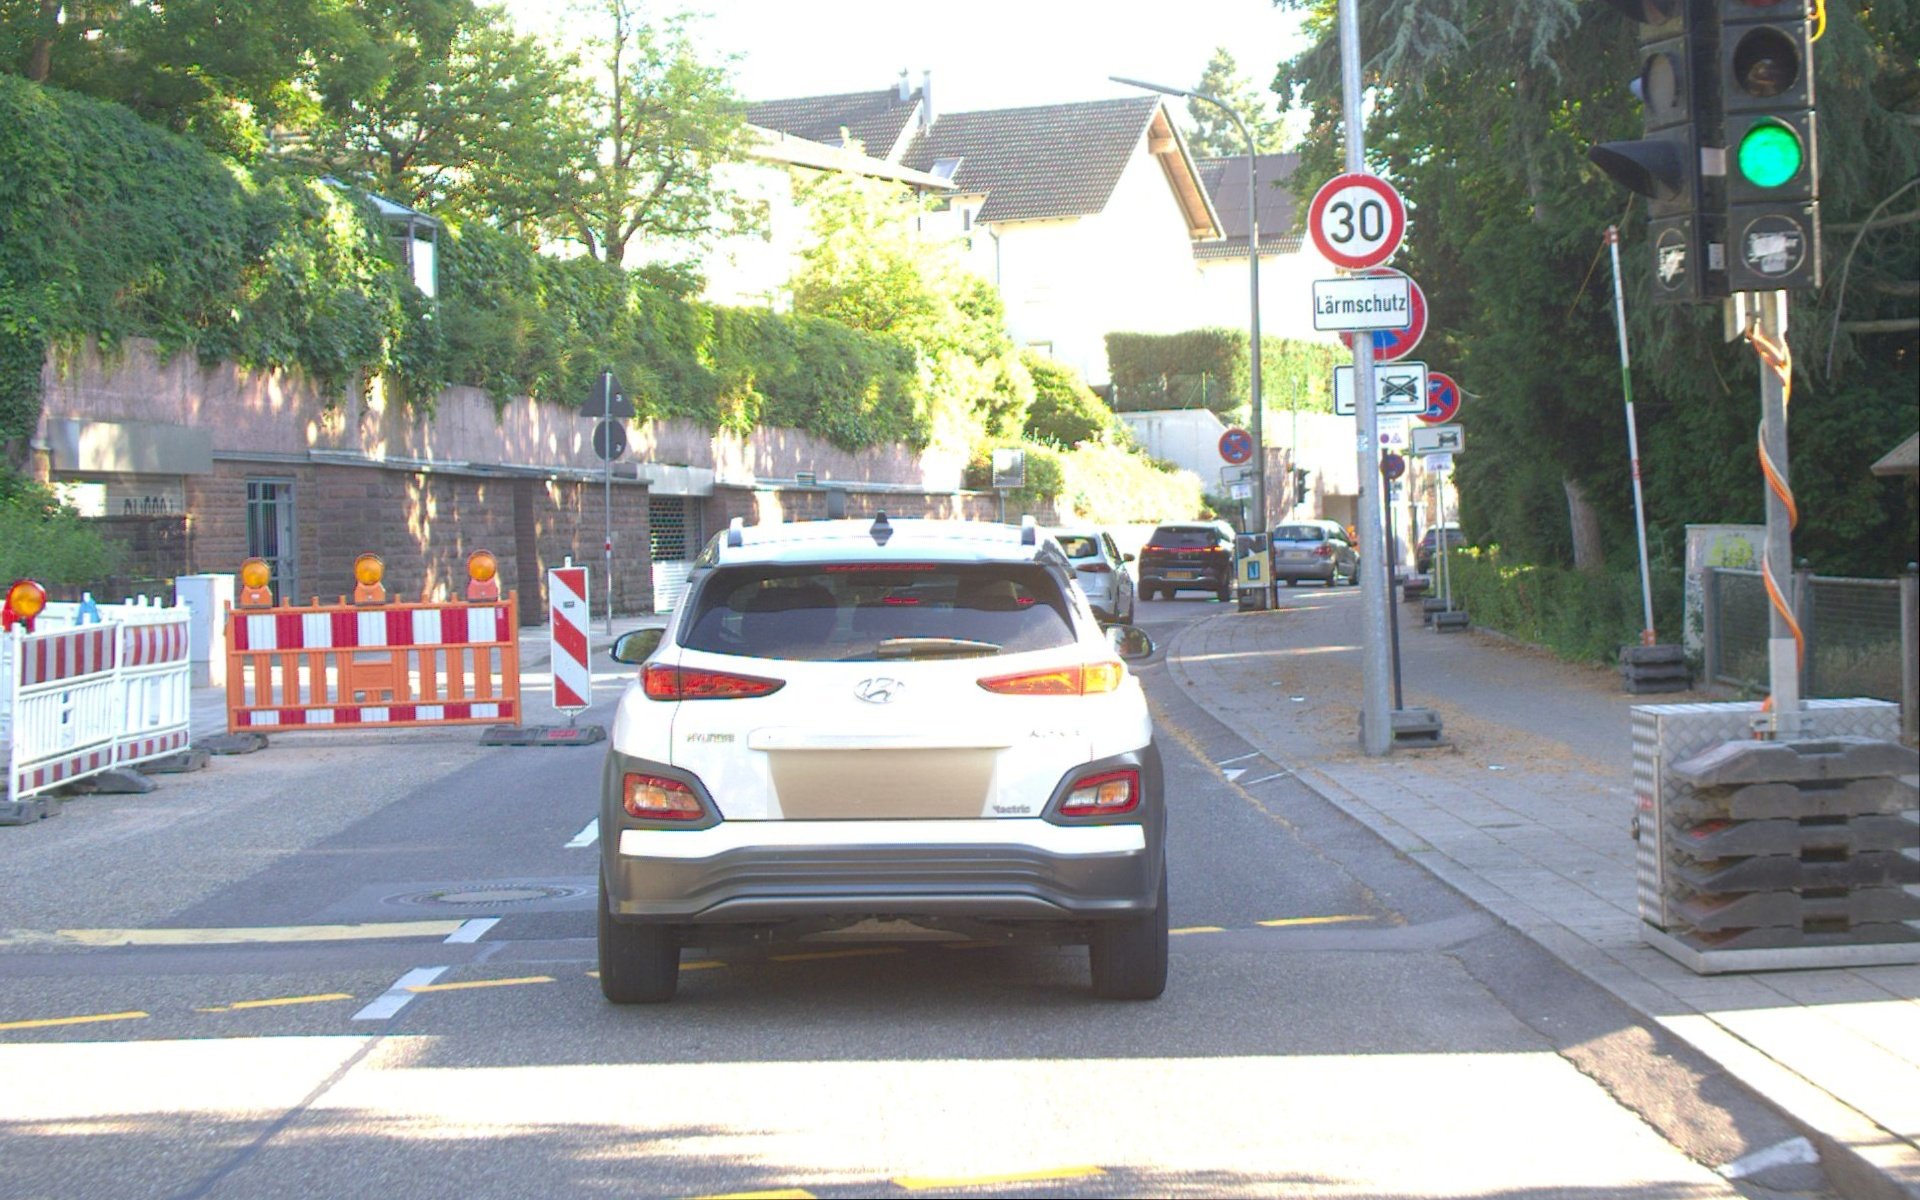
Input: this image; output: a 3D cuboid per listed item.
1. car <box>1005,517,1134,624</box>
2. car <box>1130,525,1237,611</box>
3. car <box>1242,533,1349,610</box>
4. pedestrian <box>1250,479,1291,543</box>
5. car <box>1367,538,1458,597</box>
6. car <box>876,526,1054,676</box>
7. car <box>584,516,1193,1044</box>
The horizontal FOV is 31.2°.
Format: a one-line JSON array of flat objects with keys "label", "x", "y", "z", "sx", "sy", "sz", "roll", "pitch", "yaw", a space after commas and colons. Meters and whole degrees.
[{"label": "car", "x": 1.605, "y": -0.468, "z": 51.605, "sx": 1.805, "sy": 1.532, "sz": 4.000, "roll": 0, "pitch": 1, "yaw": 0}, {"label": "car", "x": 4.533, "y": -0.669, "z": 69.228, "sx": 1.832, "sy": 1.656, "sz": 3.999, "roll": 1, "pitch": 1, "yaw": 8}, {"label": "car", "x": 8.098, "y": -0.700, "z": 82.676, "sx": 1.833, "sy": 1.735, "sz": 3.997, "roll": -2, "pitch": 1, "yaw": 16}, {"label": "pedestrian", "x": 9.282, "y": -2.651, "z": 102.681, "sx": 1.080, "sy": 1.905, "sz": 0.840, "roll": 0, "pitch": 1, "yaw": 17}, {"label": "car", "x": 13.106, "y": -0.962, "z": 99.358, "sx": 1.833, "sy": 1.656, "sz": 3.996, "roll": 1, "pitch": 1, "yaw": 19}, {"label": "car", "x": 0.023, "y": -0.037, "z": 35.456, "sx": 1.708, "sy": 1.429, "sz": 4.365, "roll": 0, "pitch": 1, "yaw": -1}, {"label": "car", "x": -0.369, "y": 0.490, "z": 12.279, "sx": 1.820, "sy": 1.568, "sz": 4.001, "roll": 0, "pitch": 1, "yaw": -5}]
